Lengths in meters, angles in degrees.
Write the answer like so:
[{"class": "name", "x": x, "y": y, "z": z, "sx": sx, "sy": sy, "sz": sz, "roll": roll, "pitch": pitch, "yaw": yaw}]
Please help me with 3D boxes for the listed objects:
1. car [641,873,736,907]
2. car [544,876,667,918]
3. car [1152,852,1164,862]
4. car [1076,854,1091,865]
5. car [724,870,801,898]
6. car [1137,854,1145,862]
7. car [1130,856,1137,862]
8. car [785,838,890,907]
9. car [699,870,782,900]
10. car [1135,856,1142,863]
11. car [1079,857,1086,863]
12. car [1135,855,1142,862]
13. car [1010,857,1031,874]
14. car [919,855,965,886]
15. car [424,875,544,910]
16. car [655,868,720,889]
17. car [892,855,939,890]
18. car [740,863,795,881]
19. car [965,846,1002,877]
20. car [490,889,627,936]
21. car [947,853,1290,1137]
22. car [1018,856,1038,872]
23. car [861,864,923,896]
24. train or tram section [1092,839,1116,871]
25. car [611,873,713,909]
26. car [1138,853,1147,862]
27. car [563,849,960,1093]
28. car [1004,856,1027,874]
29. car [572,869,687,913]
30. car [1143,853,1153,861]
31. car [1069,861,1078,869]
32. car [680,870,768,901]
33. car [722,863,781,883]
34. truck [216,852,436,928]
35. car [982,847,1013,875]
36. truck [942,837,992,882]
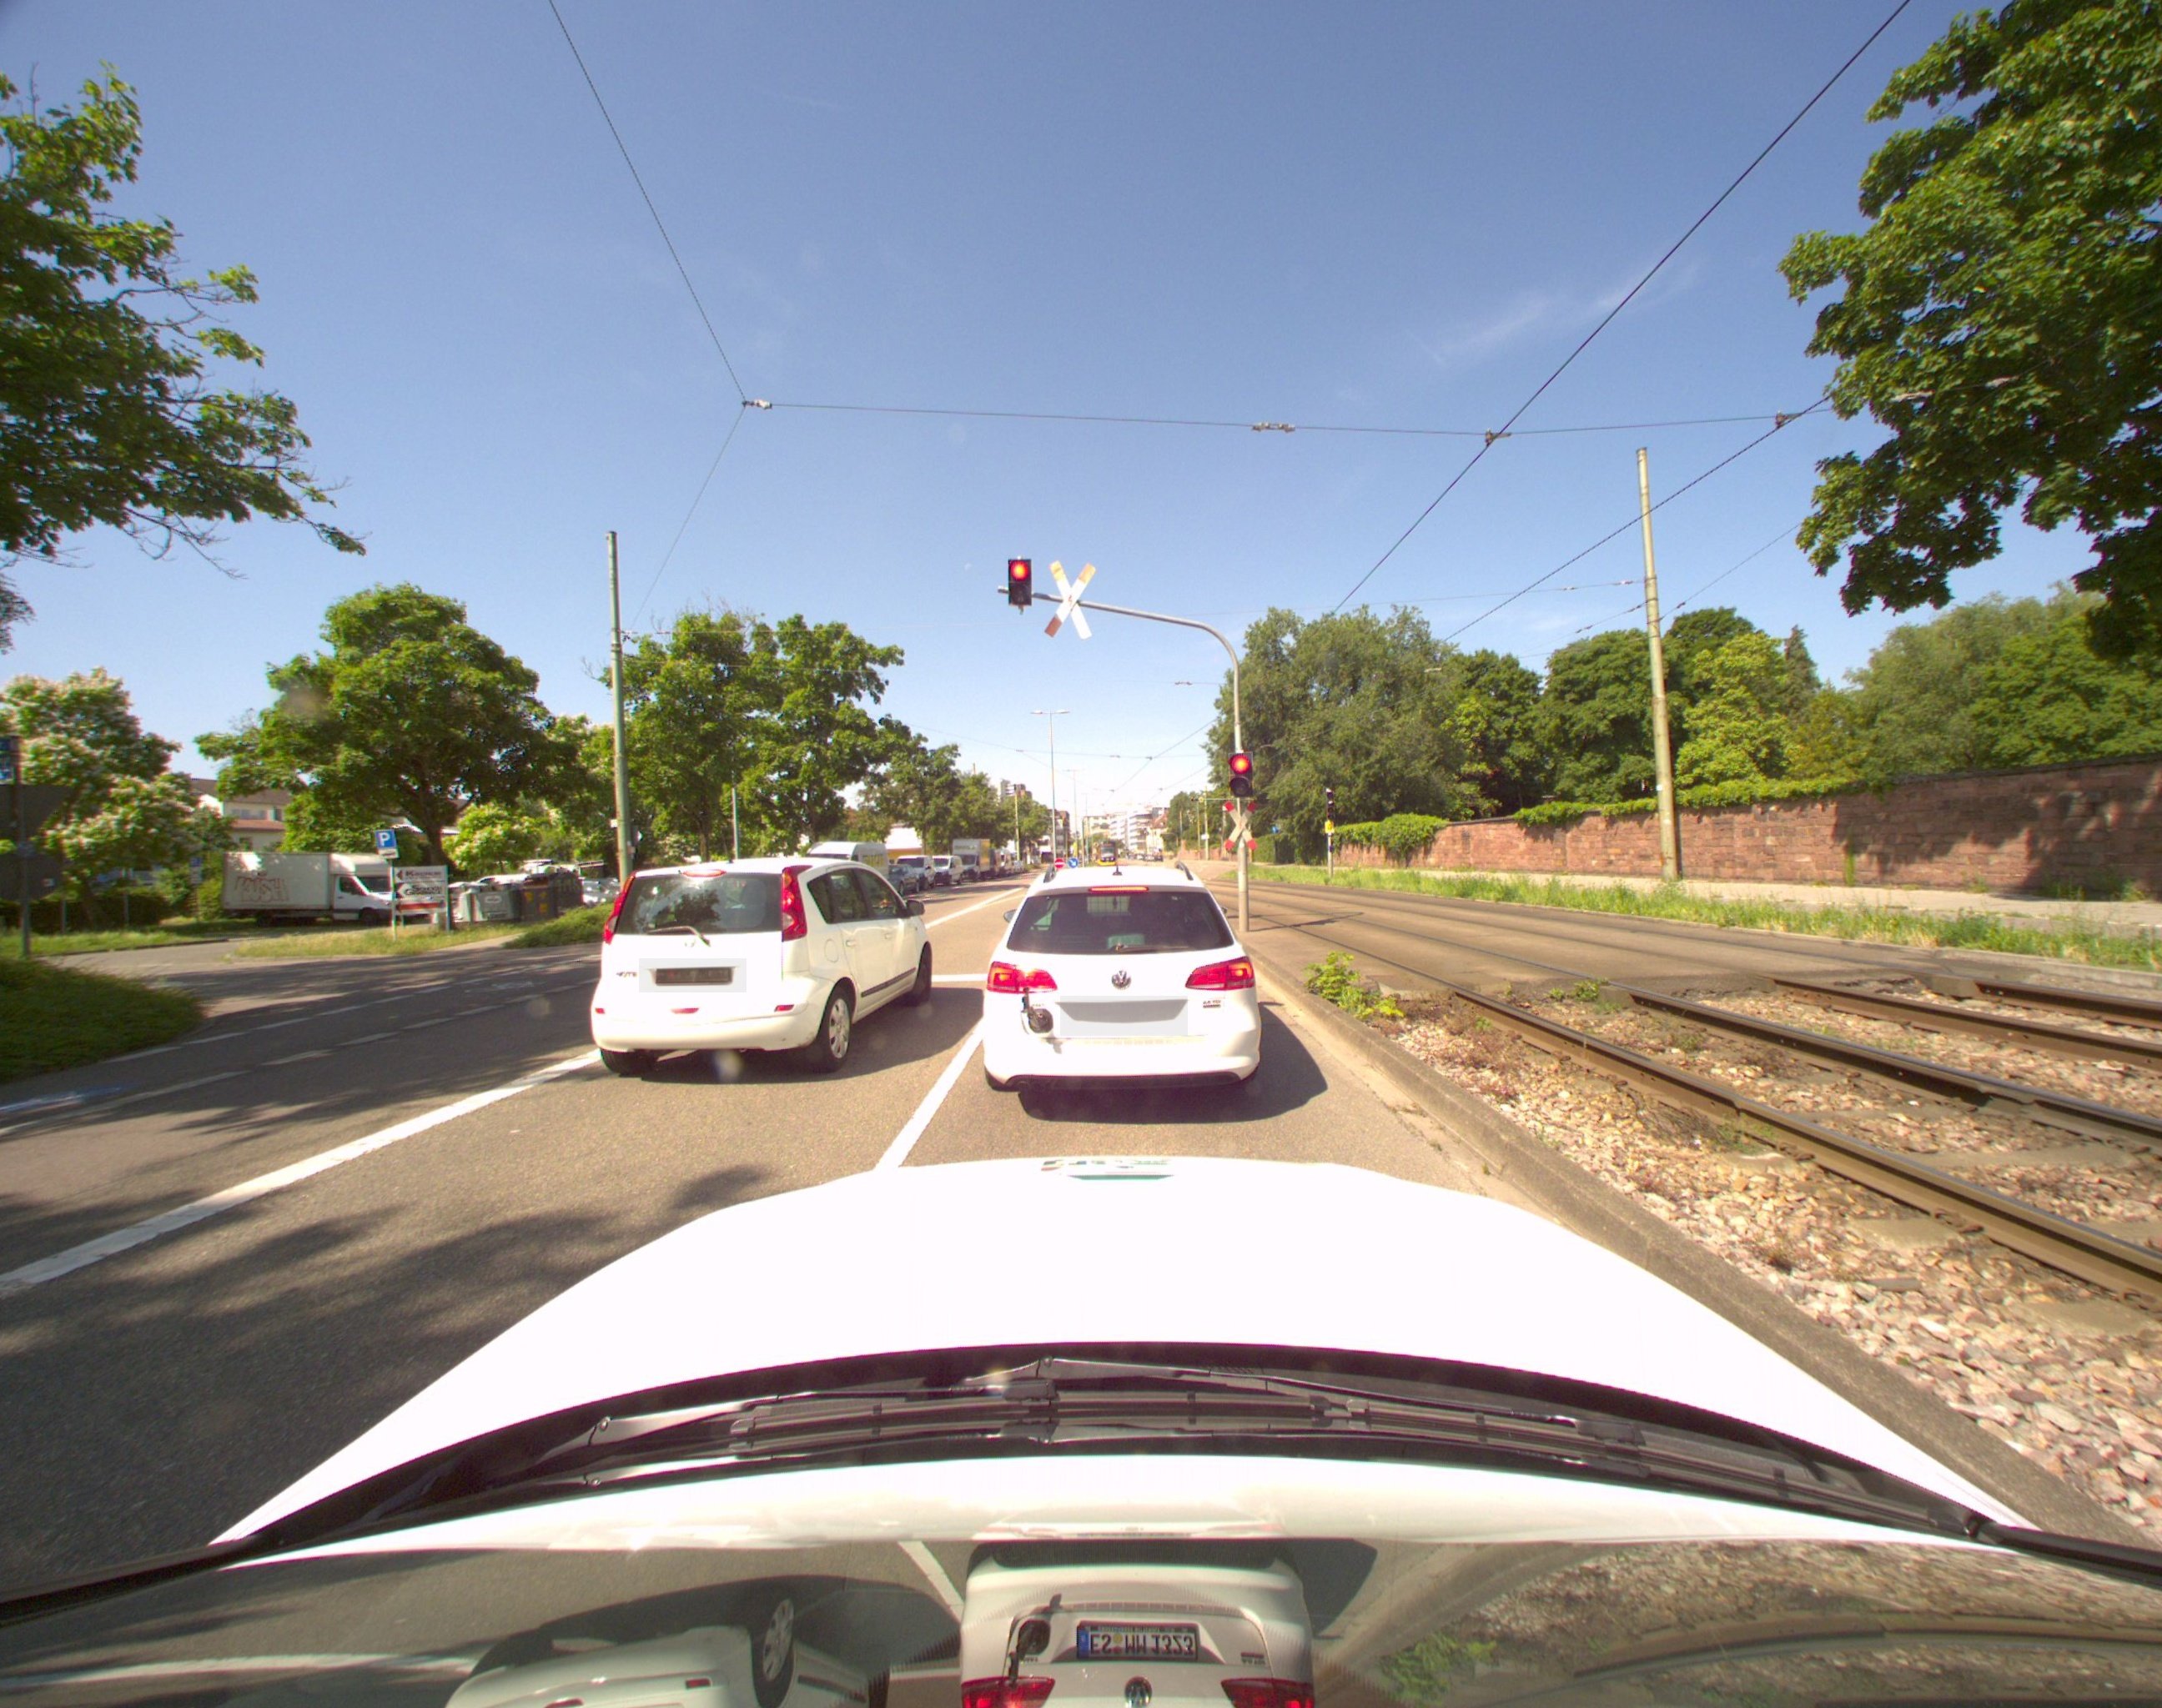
[{"class": "car", "x": -20.298, "y": 1.854, "z": 42.210, "sx": 3.977, "sy": 1.415, "sz": 1.729, "roll": -4, "pitch": -1, "yaw": -3}, {"class": "car", "x": -19.676, "y": 1.756, "z": 33.856, "sx": 3.977, "sy": 1.415, "sz": 1.729, "roll": -4, "pitch": -1, "yaw": -3}, {"class": "car", "x": 14.757, "y": 0.536, "z": 156.557, "sx": 1.857, "sy": 1.868, "sz": 5.063, "roll": 0, "pitch": 0, "yaw": 1}, {"class": "car", "x": 0.338, "y": 0.735, "z": 112.835, "sx": 1.698, "sy": 1.473, "sz": 4.593, "roll": -3, "pitch": 0, "yaw": 3}, {"class": "car", "x": -19.473, "y": 1.805, "z": 49.876, "sx": 3.977, "sy": 1.415, "sz": 1.729, "roll": -4, "pitch": -1, "yaw": -3}, {"class": "car", "x": 15.049, "y": 0.961, "z": 205.030, "sx": 1.857, "sy": 1.868, "sz": 5.063, "roll": 0, "pitch": 0, "yaw": 1}, {"class": "car", "x": 16.981, "y": 1.570, "z": 262.435, "sx": 1.857, "sy": 1.868, "sz": 5.063, "roll": 0, "pitch": 0, "yaw": 1}, {"class": "car", "x": -9.589, "y": 0.673, "z": 32.671, "sx": 2.114, "sy": 2.516, "sz": 5.822, "roll": 0, "pitch": 0, "yaw": 3}, {"class": "car", "x": -19.619, "y": 1.752, "z": 47.060, "sx": 3.977, "sy": 1.415, "sz": 1.729, "roll": -4, "pitch": -1, "yaw": -3}, {"class": "car", "x": 17.448, "y": 1.625, "z": 247.211, "sx": 1.857, "sy": 1.868, "sz": 5.063, "roll": 0, "pitch": 0, "yaw": 1}, {"class": "car", "x": 0.416, "y": 1.540, "z": 212.183, "sx": 1.701, "sy": 1.473, "sz": 4.586, "roll": -3, "pitch": 0, "yaw": -2}, {"class": "car", "x": 15.976, "y": 1.188, "z": 227.018, "sx": 1.857, "sy": 1.868, "sz": 5.063, "roll": 0, "pitch": 0, "yaw": 1}, {"class": "car", "x": -6.791, "y": 1.285, "z": 92.025, "sx": 1.856, "sy": 1.868, "sz": 5.415, "roll": 0, "pitch": 0, "yaw": 1}, {"class": "car", "x": -8.848, "y": 0.994, "z": 52.266, "sx": 1.856, "sy": 1.868, "sz": 5.415, "roll": 0, "pitch": 0, "yaw": 1}, {"class": "car", "x": -31.777, "y": 2.034, "z": 43.498, "sx": 4.780, "sy": 1.787, "sz": 2.062, "roll": 0, "pitch": -1, "yaw": -3}, {"class": "car", "x": -35.214, "y": 2.177, "z": 73.019, "sx": 4.780, "sy": 1.787, "sz": 2.062, "roll": 0, "pitch": -1, "yaw": -3}, {"class": "car", "x": -9.204, "y": 0.975, "z": 45.685, "sx": 1.859, "sy": 1.868, "sz": 5.068, "roll": 0, "pitch": 0, "yaw": -4}, {"class": "car", "x": -31.790, "y": 1.839, "z": 82.772, "sx": 4.780, "sy": 1.787, "sz": 2.062, "roll": 0, "pitch": -1, "yaw": -3}, {"class": "car", "x": -8.161, "y": 0.596, "z": 68.685, "sx": 2.114, "sy": 2.516, "sz": 5.737, "roll": 0, "pitch": 0, "yaw": 2}, {"class": "car", "x": -19.907, "y": 2.222, "z": 31.163, "sx": 3.977, "sy": 1.415, "sz": 1.729, "roll": -4, "pitch": -1, "yaw": -3}, {"class": "car", "x": 0.260, "y": 0.748, "z": 6.328, "sx": 1.756, "sy": 1.430, "sz": 4.002, "roll": -3, "pitch": 0, "yaw": 2}, {"class": "car", "x": -6.410, "y": 1.245, "z": 98.937, "sx": 1.856, "sy": 1.868, "sz": 5.415, "roll": 0, "pitch": 0, "yaw": 1}, {"class": "car", "x": -9.013, "y": 1.208, "z": 39.134, "sx": 1.856, "sy": 1.415, "sz": 4.281, "roll": 0, "pitch": 0, "yaw": 1}, {"class": "train or tram section", "x": 3.030, "y": 0.075, "z": 107.074, "sx": 2.860, "sy": 3.855, "sz": 12.396, "roll": -3, "pitch": 0, "yaw": 2}, {"class": "car", "x": -20.305, "y": 1.791, "z": 39.599, "sx": 3.977, "sy": 1.415, "sz": 1.729, "roll": -4, "pitch": -1, "yaw": -3}, {"class": "car", "x": 14.288, "y": 0.790, "z": 188.512, "sx": 1.857, "sy": 1.868, "sz": 5.063, "roll": 0, "pitch": 0, "yaw": 1}, {"class": "car", "x": -2.418, "y": 0.760, "z": 7.553, "sx": 1.655, "sy": 1.547, "sz": 4.550, "roll": -1, "pitch": 0, "yaw": 3}, {"class": "car", "x": -6.841, "y": 1.127, "z": 85.207, "sx": 1.856, "sy": 1.868, "sz": 5.415, "roll": 0, "pitch": 0, "yaw": 1}, {"class": "car", "x": -19.926, "y": 1.615, "z": 36.063, "sx": 3.977, "sy": 1.610, "sz": 1.729, "roll": -4, "pitch": -1, "yaw": -3}, {"class": "car", "x": 14.218, "y": 0.625, "z": 172.529, "sx": 1.857, "sy": 1.868, "sz": 5.063, "roll": 0, "pitch": 0, "yaw": 1}, {"class": "car", "x": -1.699, "y": 2.513, "z": 188.269, "sx": 1.756, "sy": 1.896, "sz": 4.916, "roll": 0, "pitch": 0, "yaw": 2}, {"class": "car", "x": -19.549, "y": 1.707, "z": 44.726, "sx": 3.977, "sy": 1.415, "sz": 1.729, "roll": -4, "pitch": -1, "yaw": -3}, {"class": "car", "x": -31.488, "y": 1.798, "z": 77.952, "sx": 4.780, "sy": 1.787, "sz": 2.062, "roll": 0, "pitch": -1, "yaw": -3}, {"class": "truck", "x": -32.434, "y": 1.509, "z": 35.181, "sx": 6.979, "sy": 3.110, "sz": 2.677, "roll": 0, "pitch": 0, "yaw": 0}, {"class": "car", "x": -7.741, "y": 0.655, "z": 76.116, "sx": 2.114, "sy": 2.516, "sz": 5.737, "roll": 0, "pitch": 0, "yaw": 2}, {"class": "truck", "x": -8.411, "y": 0.394, "z": 60.687, "sx": 2.411, "sy": 3.150, "sz": 7.001, "roll": 0, "pitch": 0, "yaw": 2}]
